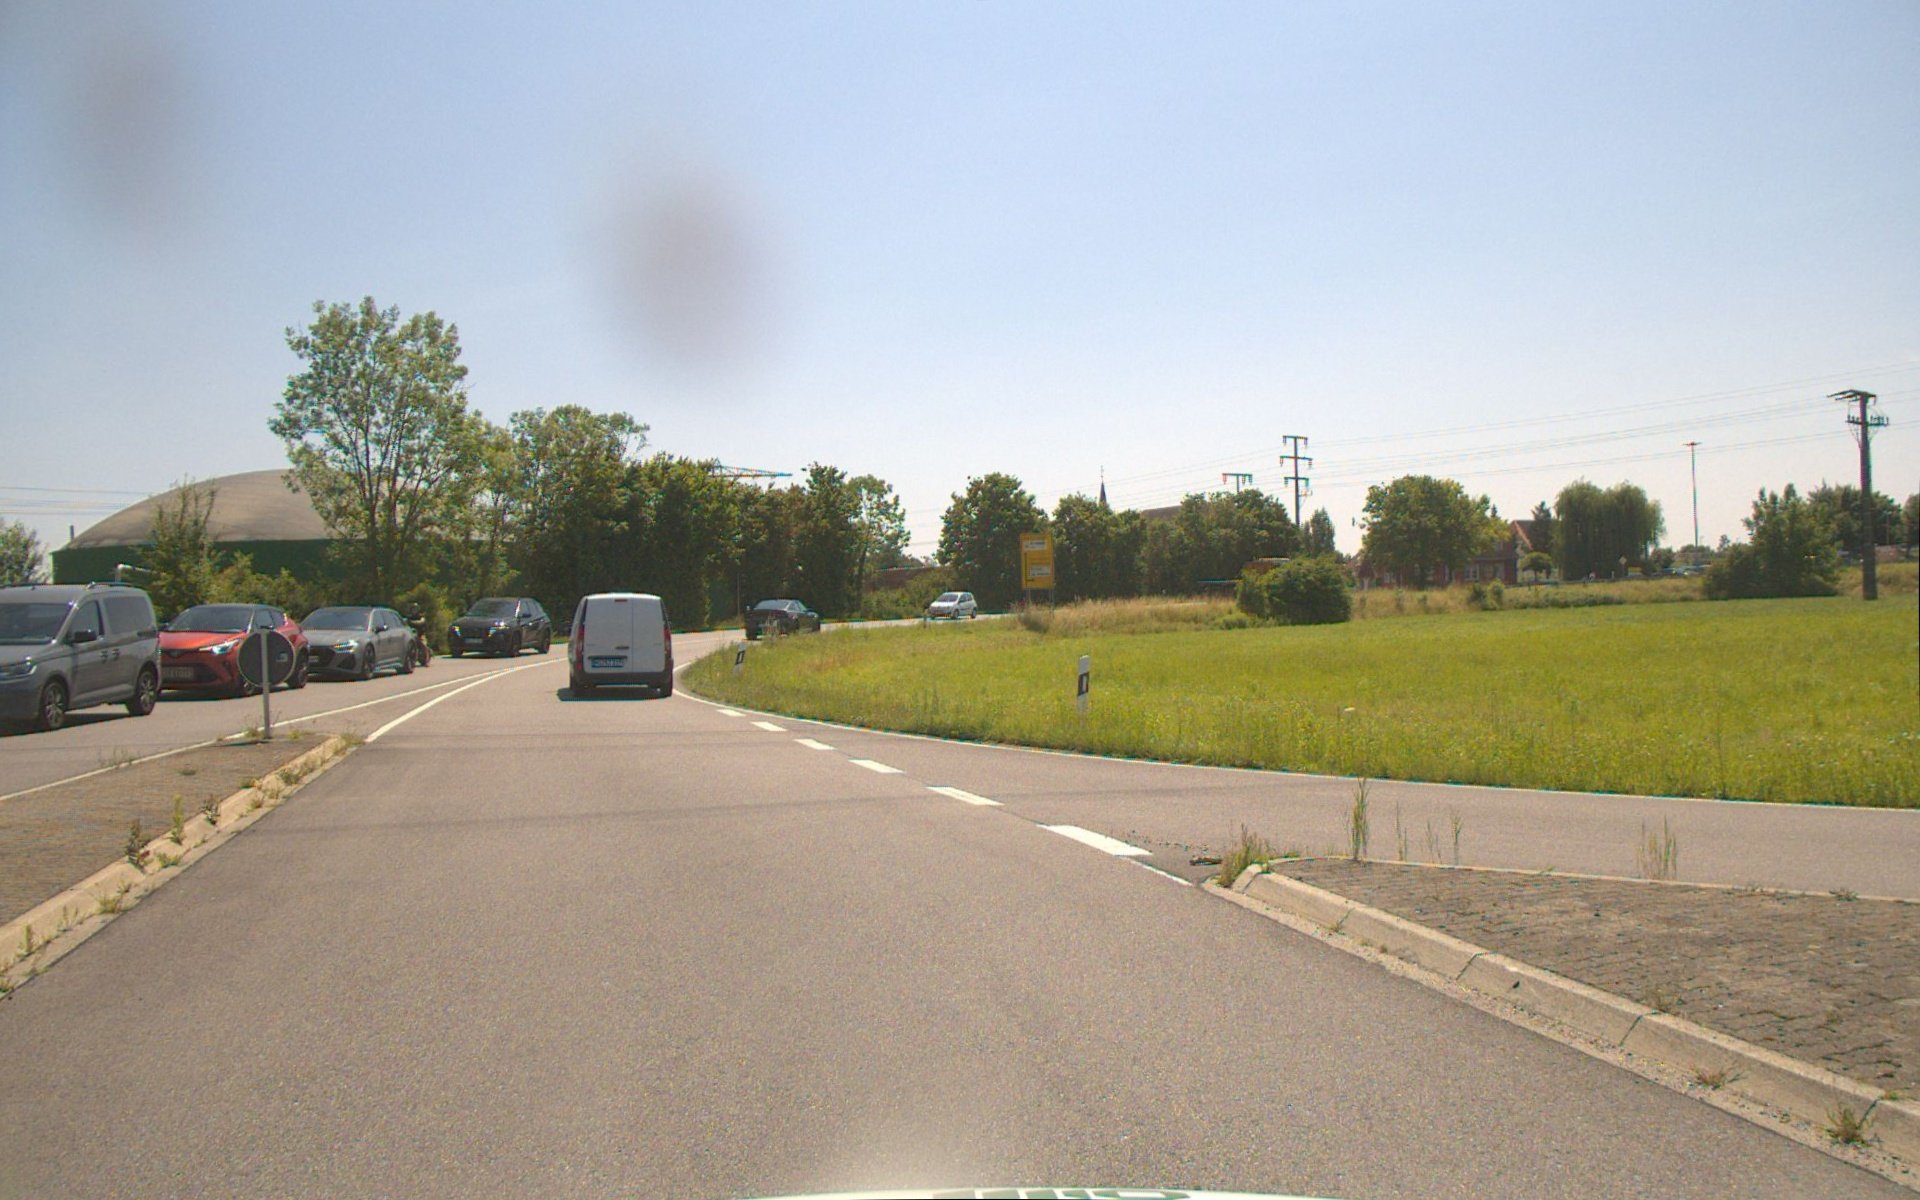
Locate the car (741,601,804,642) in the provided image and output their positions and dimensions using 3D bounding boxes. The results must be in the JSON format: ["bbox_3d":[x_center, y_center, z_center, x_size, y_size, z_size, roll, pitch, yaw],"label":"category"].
[{"bbox_3d":[-7.128,0.812,63.159,1.683,1.445,3.747,-2,-1,4],"label":"car"}]

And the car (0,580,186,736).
[{"bbox_3d":[-12.290,0.743,22.070,1.887,1.864,4.437,-2,-1,-2],"label":"car"}]

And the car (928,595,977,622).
[{"bbox_3d":[-0.416,0.500,93.861,1.505,1.468,3.607,1,0,22],"label":"car"}]

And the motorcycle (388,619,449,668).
[{"bbox_3d":[-13.210,1.043,40.435,0.766,1.143,2.429,0,0,-2],"label":"motorcycle"}]

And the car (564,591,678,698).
[{"bbox_3d":[-6.203,0.783,30.133,1.871,1.763,3.809,-2,-1,-13],"label":"car"}]

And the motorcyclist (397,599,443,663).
[{"bbox_3d":[-13.207,0.758,40.493,0.765,1.521,1.130,-1,-1,-2],"label":"motorcyclist"}]

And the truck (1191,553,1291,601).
[{"bbox_3d":[20.147,-1.586,118.153,3.051,3.192,8.755,-1,-1,40],"label":"truck"}]

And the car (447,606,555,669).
[{"bbox_3d":[-12.993,1.024,47.065,1.666,1.666,4.251,0,0,3],"label":"car"}]

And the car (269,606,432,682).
[{"bbox_3d":[-12.839,0.896,35.173,1.804,1.486,4.807,-1,-1,-2],"label":"car"}]

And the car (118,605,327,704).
[{"bbox_3d":[-12.794,0.909,28.999,1.762,1.542,4.390,-2,-1,-2],"label":"car"}]
